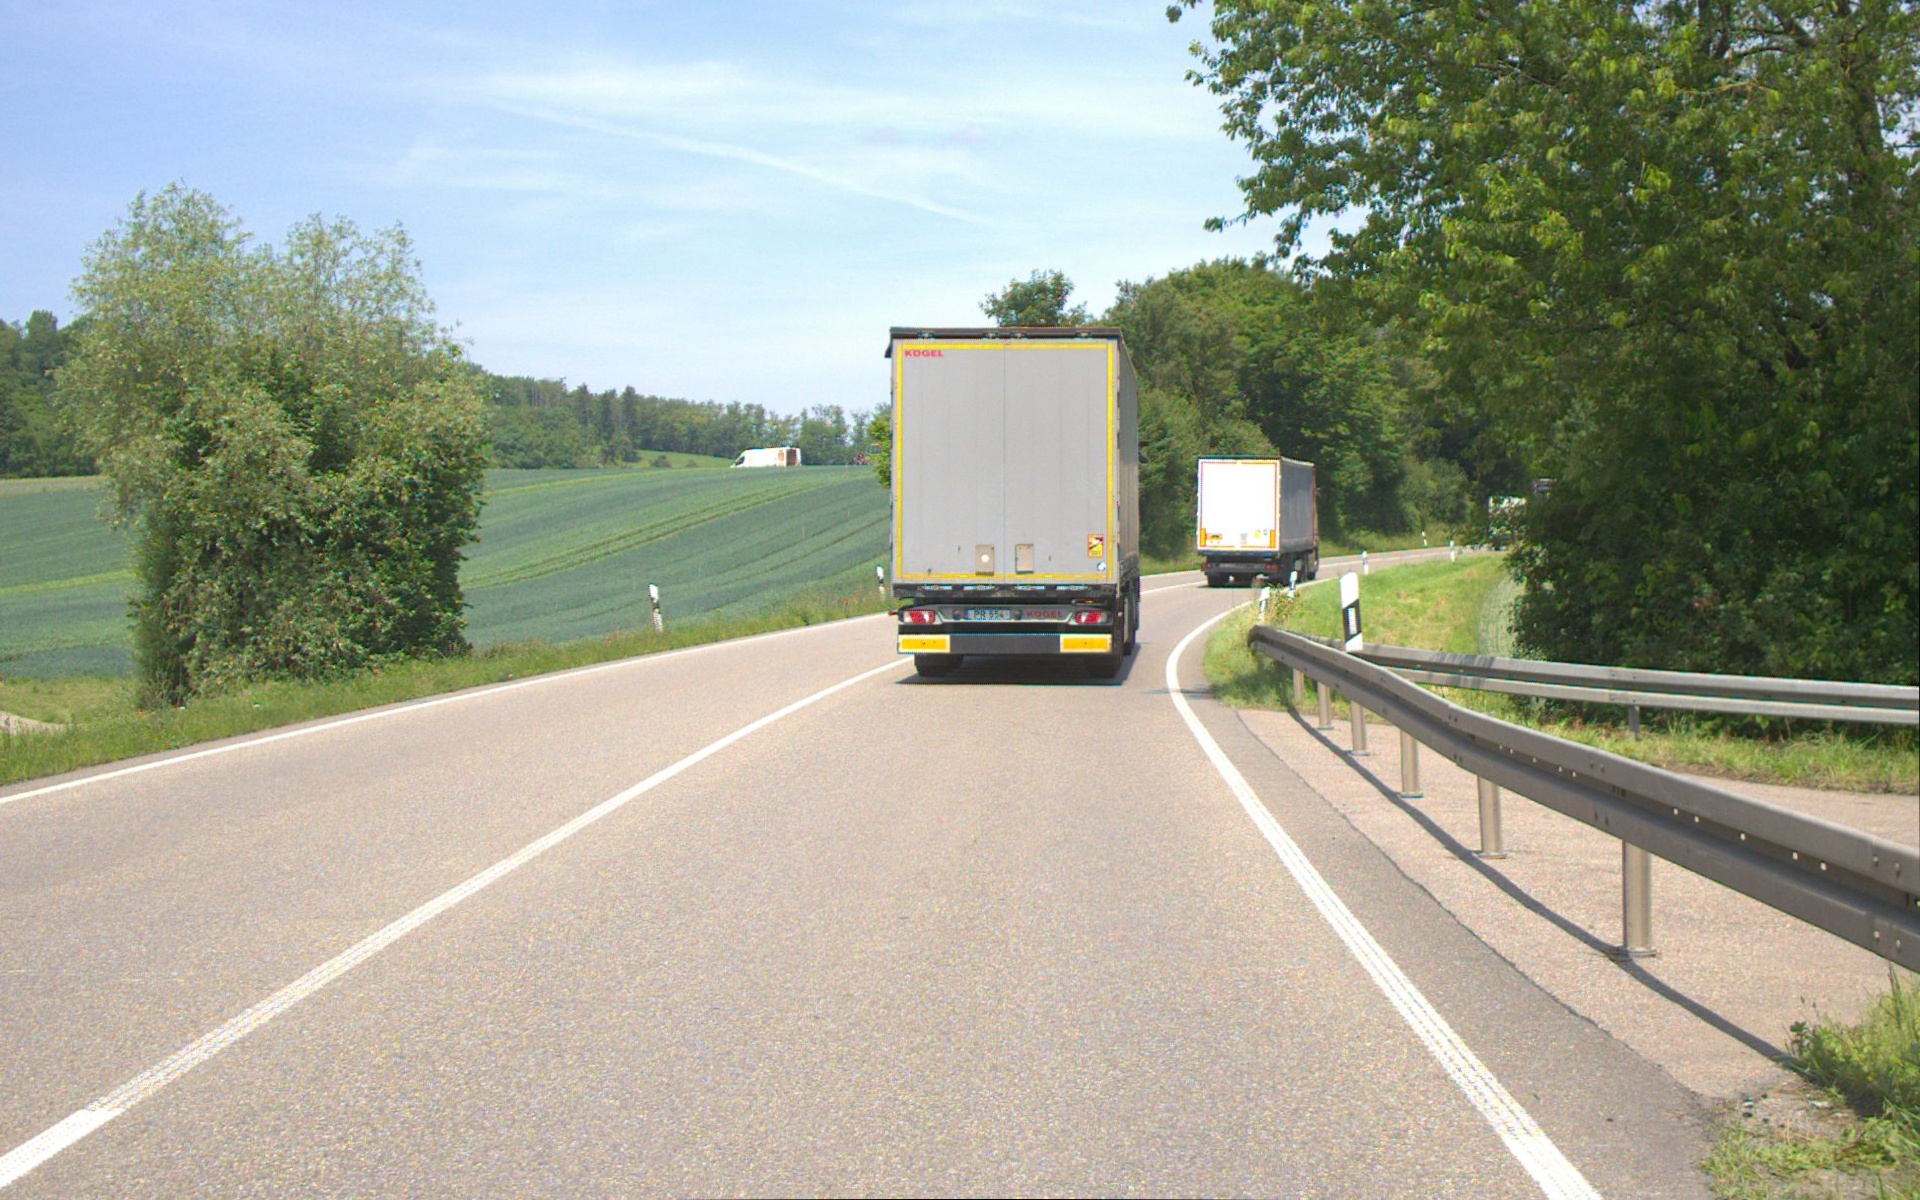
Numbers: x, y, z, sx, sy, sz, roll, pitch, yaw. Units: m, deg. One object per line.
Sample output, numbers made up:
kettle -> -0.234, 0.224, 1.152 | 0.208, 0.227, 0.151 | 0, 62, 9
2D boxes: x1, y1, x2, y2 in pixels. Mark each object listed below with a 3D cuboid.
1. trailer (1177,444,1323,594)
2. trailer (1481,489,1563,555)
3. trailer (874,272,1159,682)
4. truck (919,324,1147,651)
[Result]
trailer -> 9.523, -2.770, 111.328 | 3.366, 4.301, 13.861 | -1, 3, 10
trailer -> 32.136, -4.416, 196.158 | 2.825, 3.297, 11.507 | -1, -1, 18
trailer -> 0.881, -1.484, 44.655 | 3.118, 4.484, 13.886 | 0, 1, 2
truck -> 1.153, -1.612, 50.751 | 3.118, 4.479, 6.811 | 0, 1, 3
